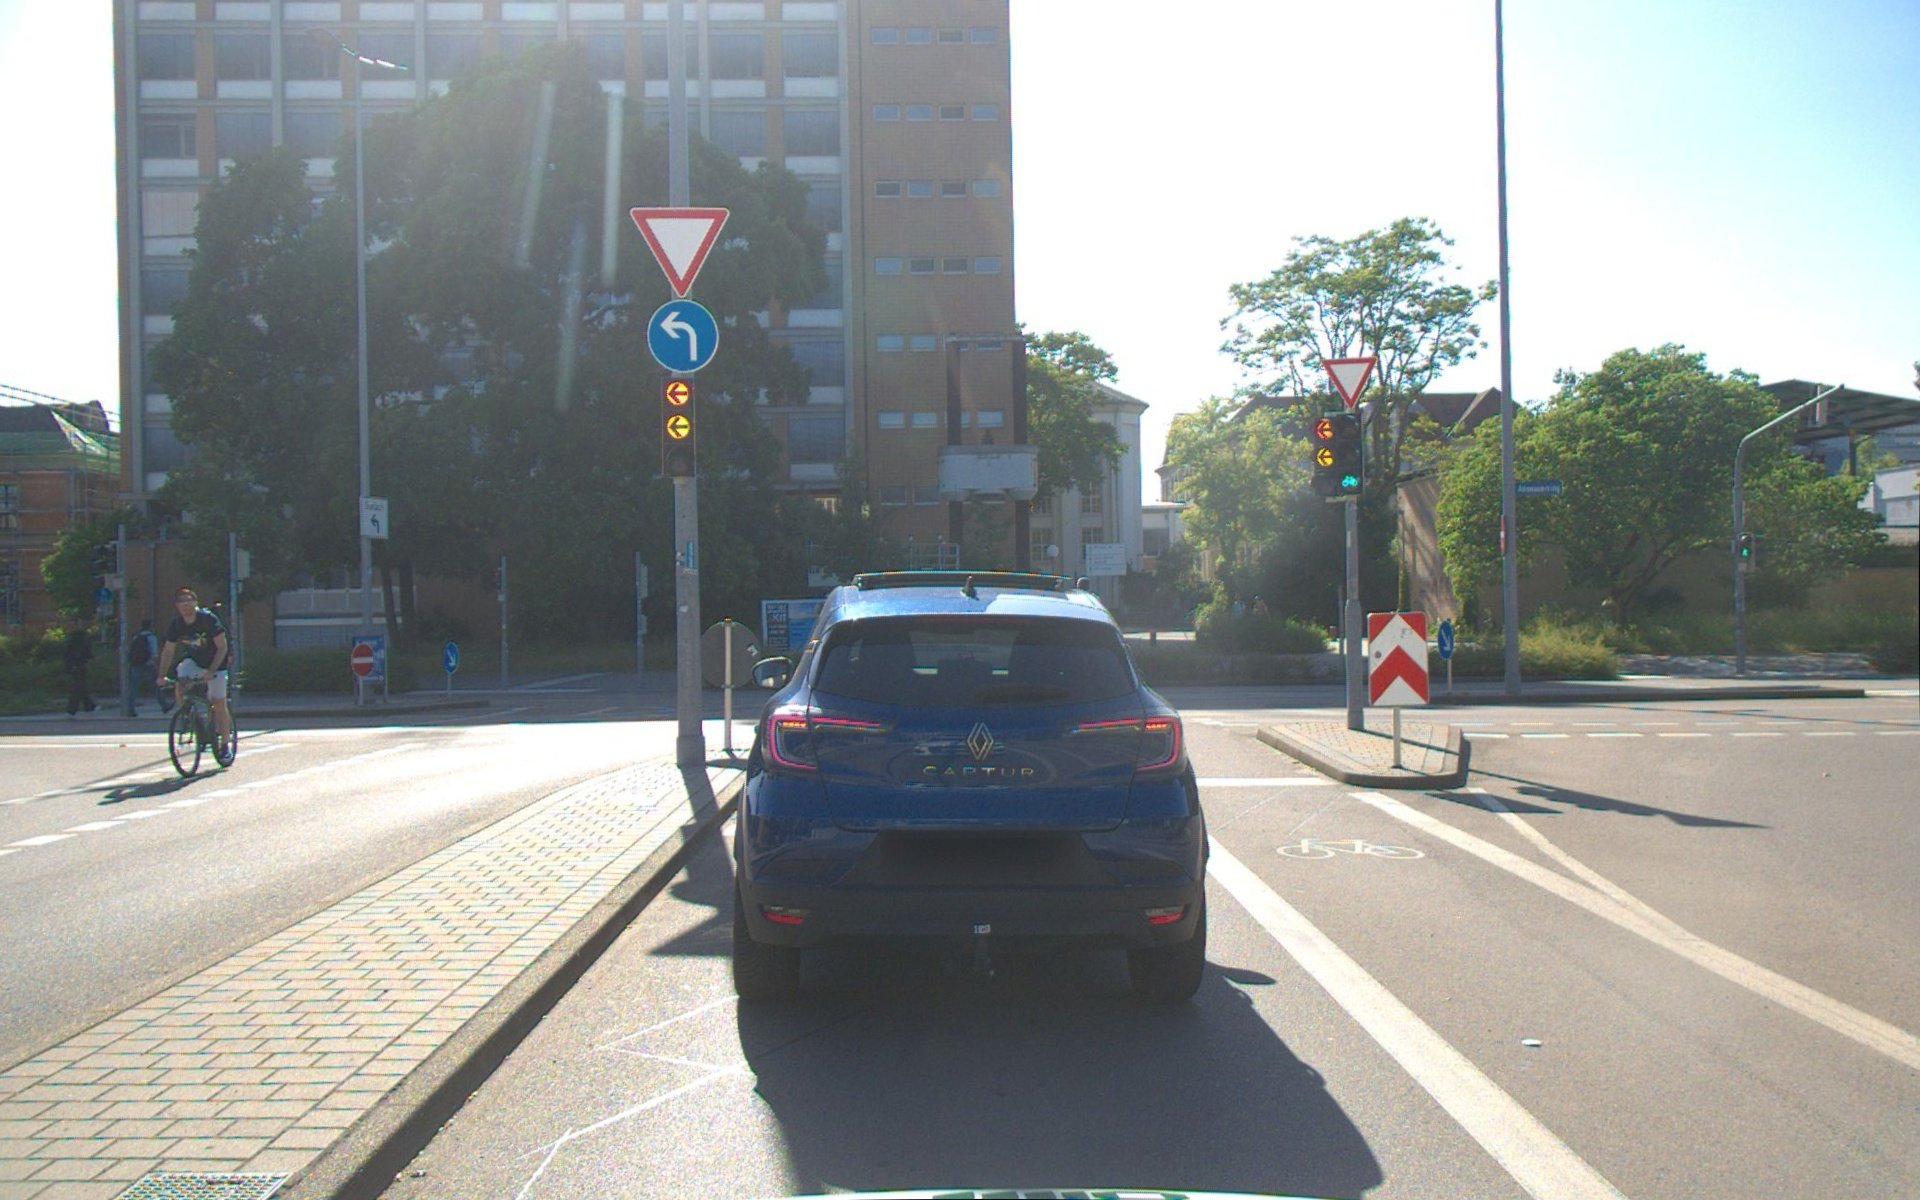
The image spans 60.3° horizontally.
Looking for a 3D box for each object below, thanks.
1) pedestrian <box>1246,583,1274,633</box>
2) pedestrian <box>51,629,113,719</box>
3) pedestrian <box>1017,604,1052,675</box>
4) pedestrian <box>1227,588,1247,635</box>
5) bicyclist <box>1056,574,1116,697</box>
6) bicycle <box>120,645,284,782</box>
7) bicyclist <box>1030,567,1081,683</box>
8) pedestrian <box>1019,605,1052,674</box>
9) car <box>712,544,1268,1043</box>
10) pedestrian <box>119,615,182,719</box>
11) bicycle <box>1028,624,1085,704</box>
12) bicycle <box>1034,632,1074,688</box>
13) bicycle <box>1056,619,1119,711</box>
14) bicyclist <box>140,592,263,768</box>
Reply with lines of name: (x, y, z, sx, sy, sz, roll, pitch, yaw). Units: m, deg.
pedestrian: (10.261, 0.277, 56.591, 0.665, 1.672, 0.732, 1, -1, 38)
pedestrian: (-16.217, 1.361, 30.555, 0.702, 1.640, 0.682, -2, -1, 15)
pedestrian: (1.966, 1.037, 43.550, 0.718, 1.848, 0.732, 1, -1, 16)
pedestrian: (10.071, 0.420, 60.064, 0.661, 1.672, 0.736, 0, -1, 13)
bicyclist: (1.734, 0.483, 22.845, 0.705, 1.645, 0.977, -1, 0, -1)
bicycle: (-7.415, 1.077, 16.272, 0.731, 1.185, 1.870, -2, 0, -1)
bicyclist: (1.500, 0.386, 26.089, 0.705, 1.793, 0.977, -1, 0, -1)
pedestrian: (2.034, 1.055, 44.533, 0.718, 1.813, 0.732, 1, -1, 16)
car: (0.078, 0.655, 7.459, 1.838, 1.646, 3.797, 1, 0, -1)
pedestrian: (-14.955, 1.226, 30.589, 0.740, 1.865, 1.093, -1, -2, -9)
bicycle: (1.507, 0.989, 26.098, 0.731, 1.185, 1.870, -1, 0, -1)
bicycle: (2.099, 1.330, 37.095, 0.731, 1.185, 1.870, -1, 0, -1)
bicycle: (1.742, 0.869, 22.826, 0.701, 1.185, 1.870, -1, 0, 0)
bicyclist: (-7.429, 0.765, 16.235, 0.705, 1.649, 0.977, -2, 0, -1)
